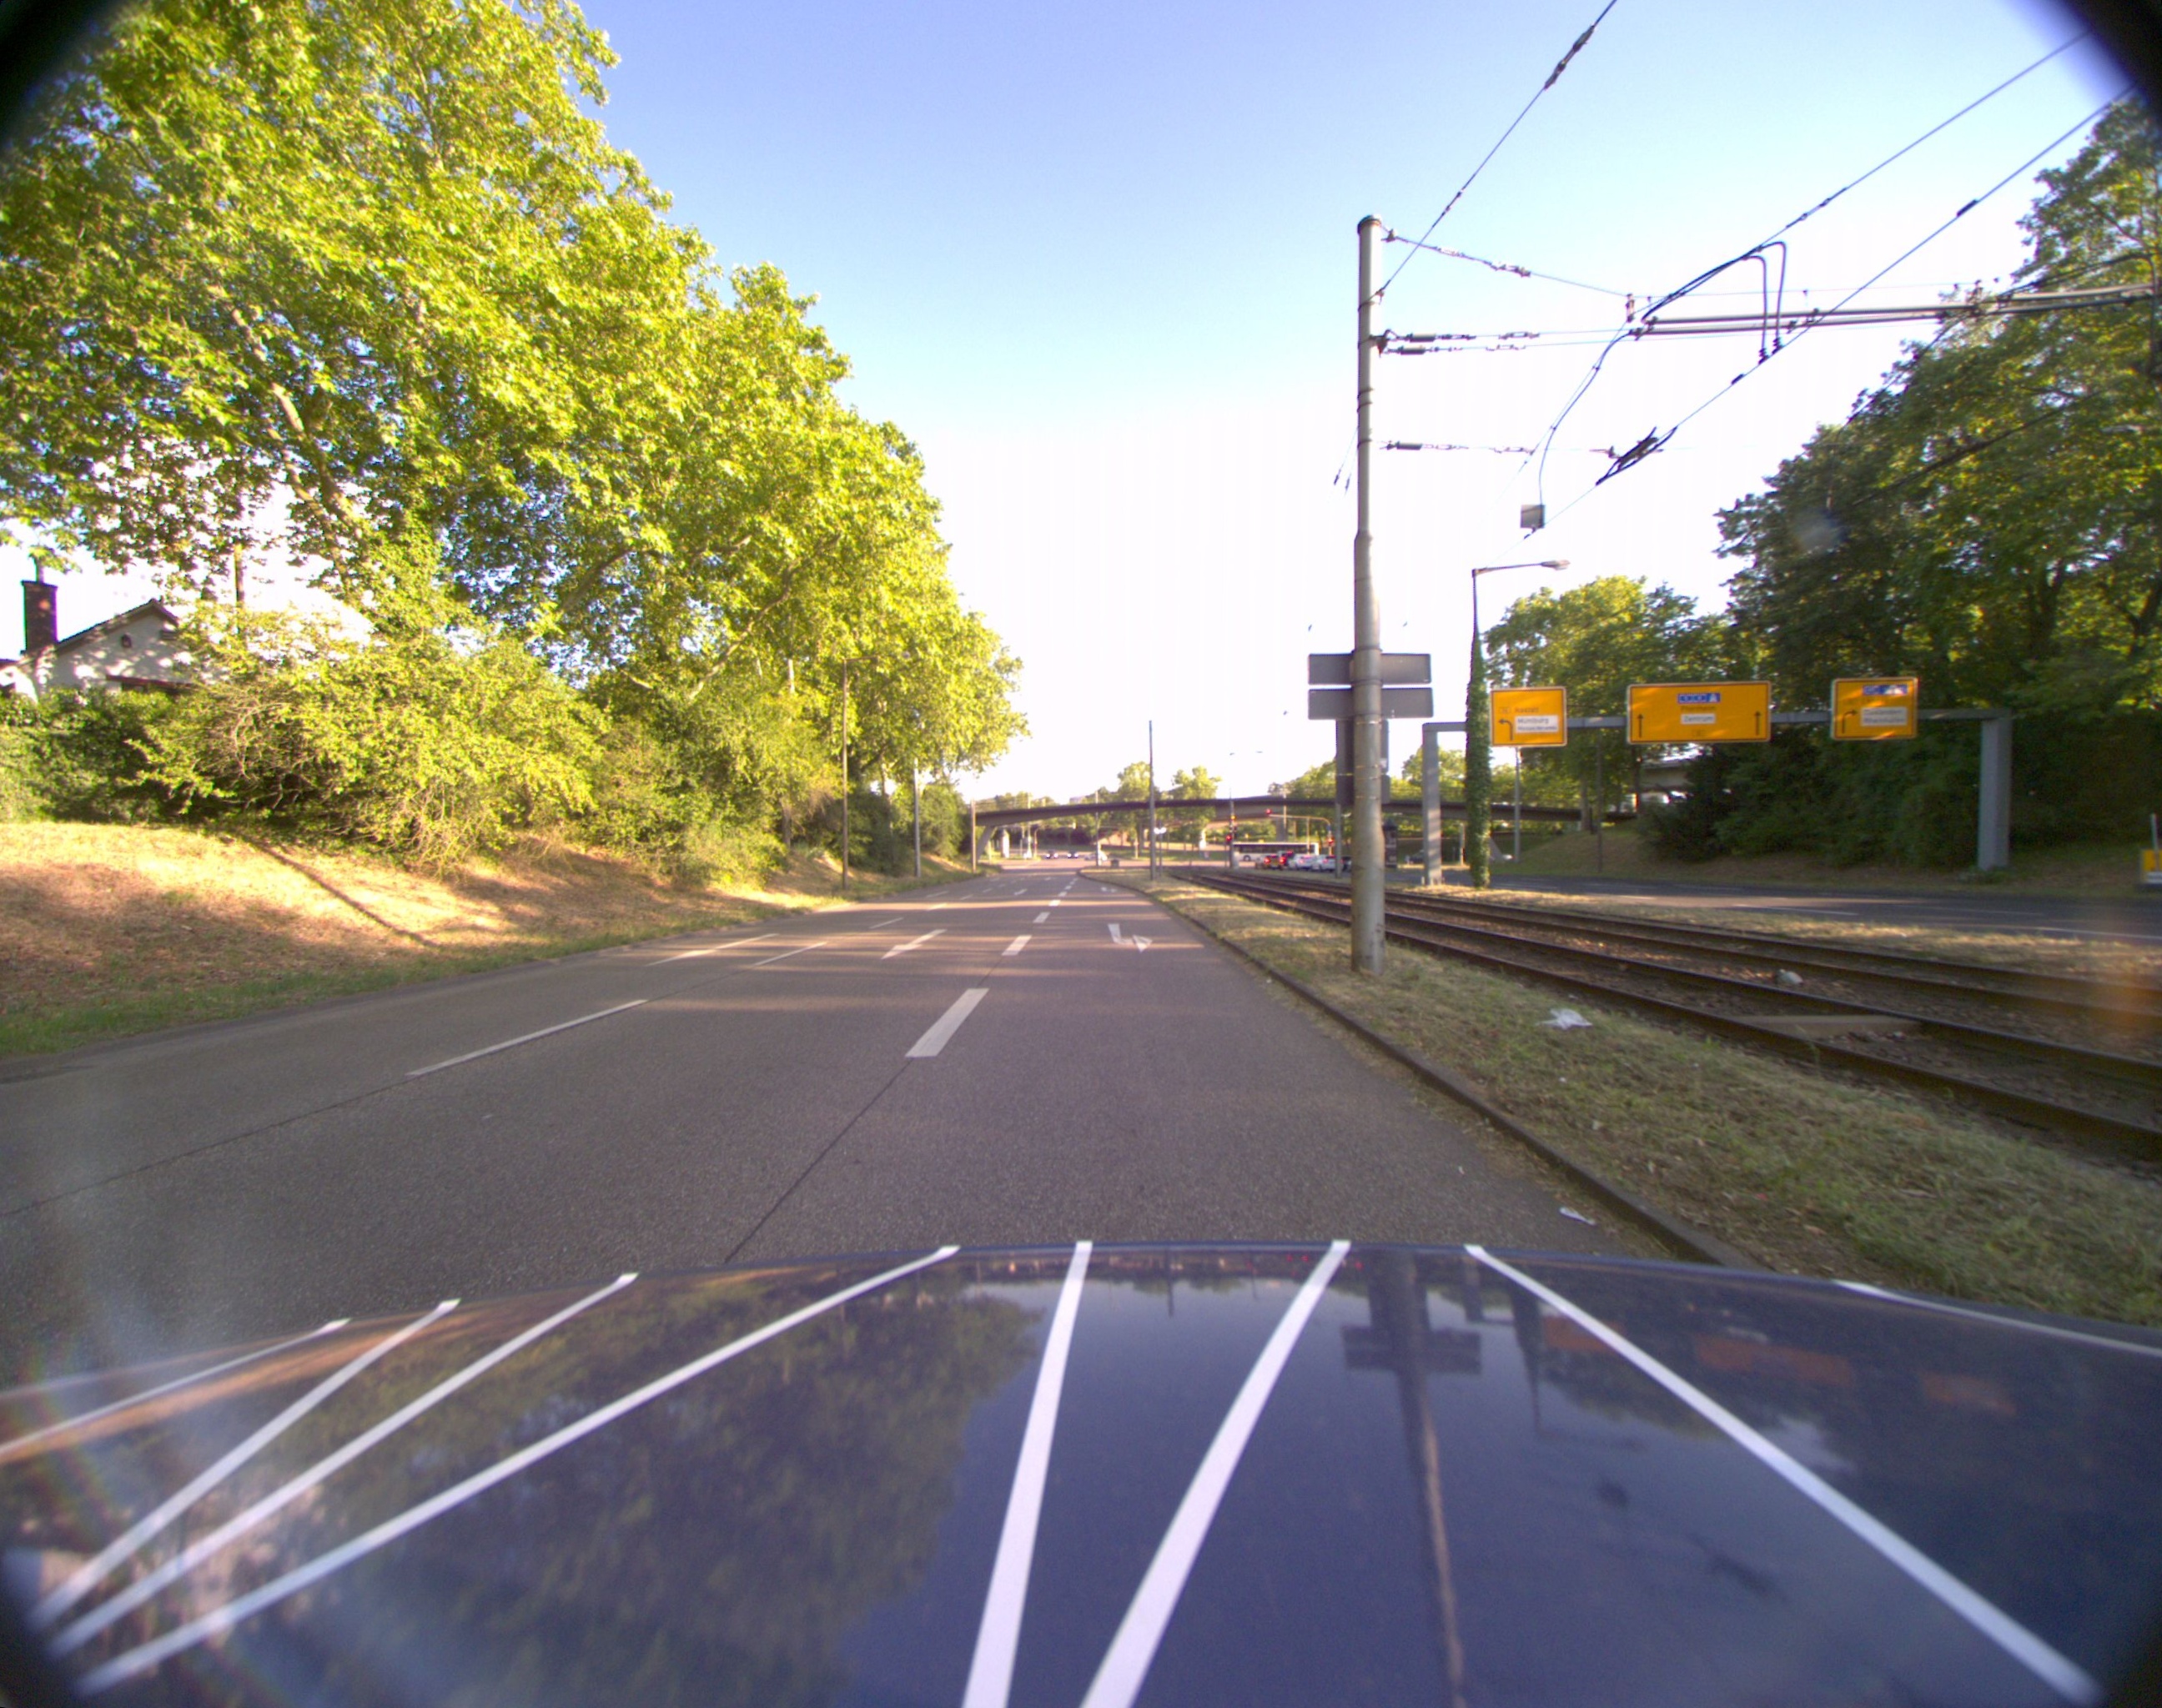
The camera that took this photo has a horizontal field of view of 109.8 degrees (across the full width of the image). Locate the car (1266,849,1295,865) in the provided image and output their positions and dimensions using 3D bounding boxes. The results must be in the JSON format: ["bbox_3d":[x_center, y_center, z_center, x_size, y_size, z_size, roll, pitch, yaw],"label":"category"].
[{"bbox_3d":[19.578,0.251,74.728,1.917,1.540,4.227,-1,0,4],"label":"car"}]

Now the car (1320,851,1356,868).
[{"bbox_3d":[23.735,0.474,70.196,1.868,1.416,4.226,-1,0,0],"label":"car"}]

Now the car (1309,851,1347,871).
[{"bbox_3d":[20.024,0.528,61.792,1.767,1.535,4.000,-1,0,0],"label":"car"}]

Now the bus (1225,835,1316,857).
[{"bbox_3d":[28.796,-1.131,115.480,13.164,2.846,2.420,-2,1,20],"label":"bus"}]

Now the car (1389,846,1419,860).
[{"bbox_3d":[46.089,-0.130,108.540,3.890,1.848,1.679,-2,1,22],"label":"car"}]

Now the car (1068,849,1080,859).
[{"bbox_3d":[-1.260,0.015,141.866,1.905,1.726,3.998,-2,0,-5],"label":"car"}]

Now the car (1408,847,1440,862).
[{"bbox_3d":[46.986,0.029,104.190,3.805,1.848,1.679,-2,1,20],"label":"car"}]

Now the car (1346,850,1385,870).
[{"bbox_3d":[23.966,0.476,64.060,1.813,1.535,4.000,-1,0,1],"label":"car"}]

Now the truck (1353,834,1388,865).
[{"bbox_3d":[28.379,-0.455,74.786,2.281,2.862,6.886,-1,0,13],"label":"truck"}]

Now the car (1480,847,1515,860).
[{"bbox_3d":[55.184,-0.091,100.722,3.804,1.570,1.679,-2,1,24],"label":"car"}]

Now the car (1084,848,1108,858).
[{"bbox_3d":[2.467,-0.120,125.593,3.647,1.503,1.665,-2,1,21],"label":"car"}]

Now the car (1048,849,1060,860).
[{"bbox_3d":[-4.904,0.070,139.190,1.960,1.779,3.998,-2,0,-5],"label":"car"}]

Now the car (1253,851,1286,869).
[{"bbox_3d":[16.145,0.494,65.222,1.767,1.535,4.000,-1,0,0],"label":"car"}]

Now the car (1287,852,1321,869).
[{"bbox_3d":[19.913,0.530,68.071,1.918,1.416,4.227,-1,0,2],"label":"car"}]
